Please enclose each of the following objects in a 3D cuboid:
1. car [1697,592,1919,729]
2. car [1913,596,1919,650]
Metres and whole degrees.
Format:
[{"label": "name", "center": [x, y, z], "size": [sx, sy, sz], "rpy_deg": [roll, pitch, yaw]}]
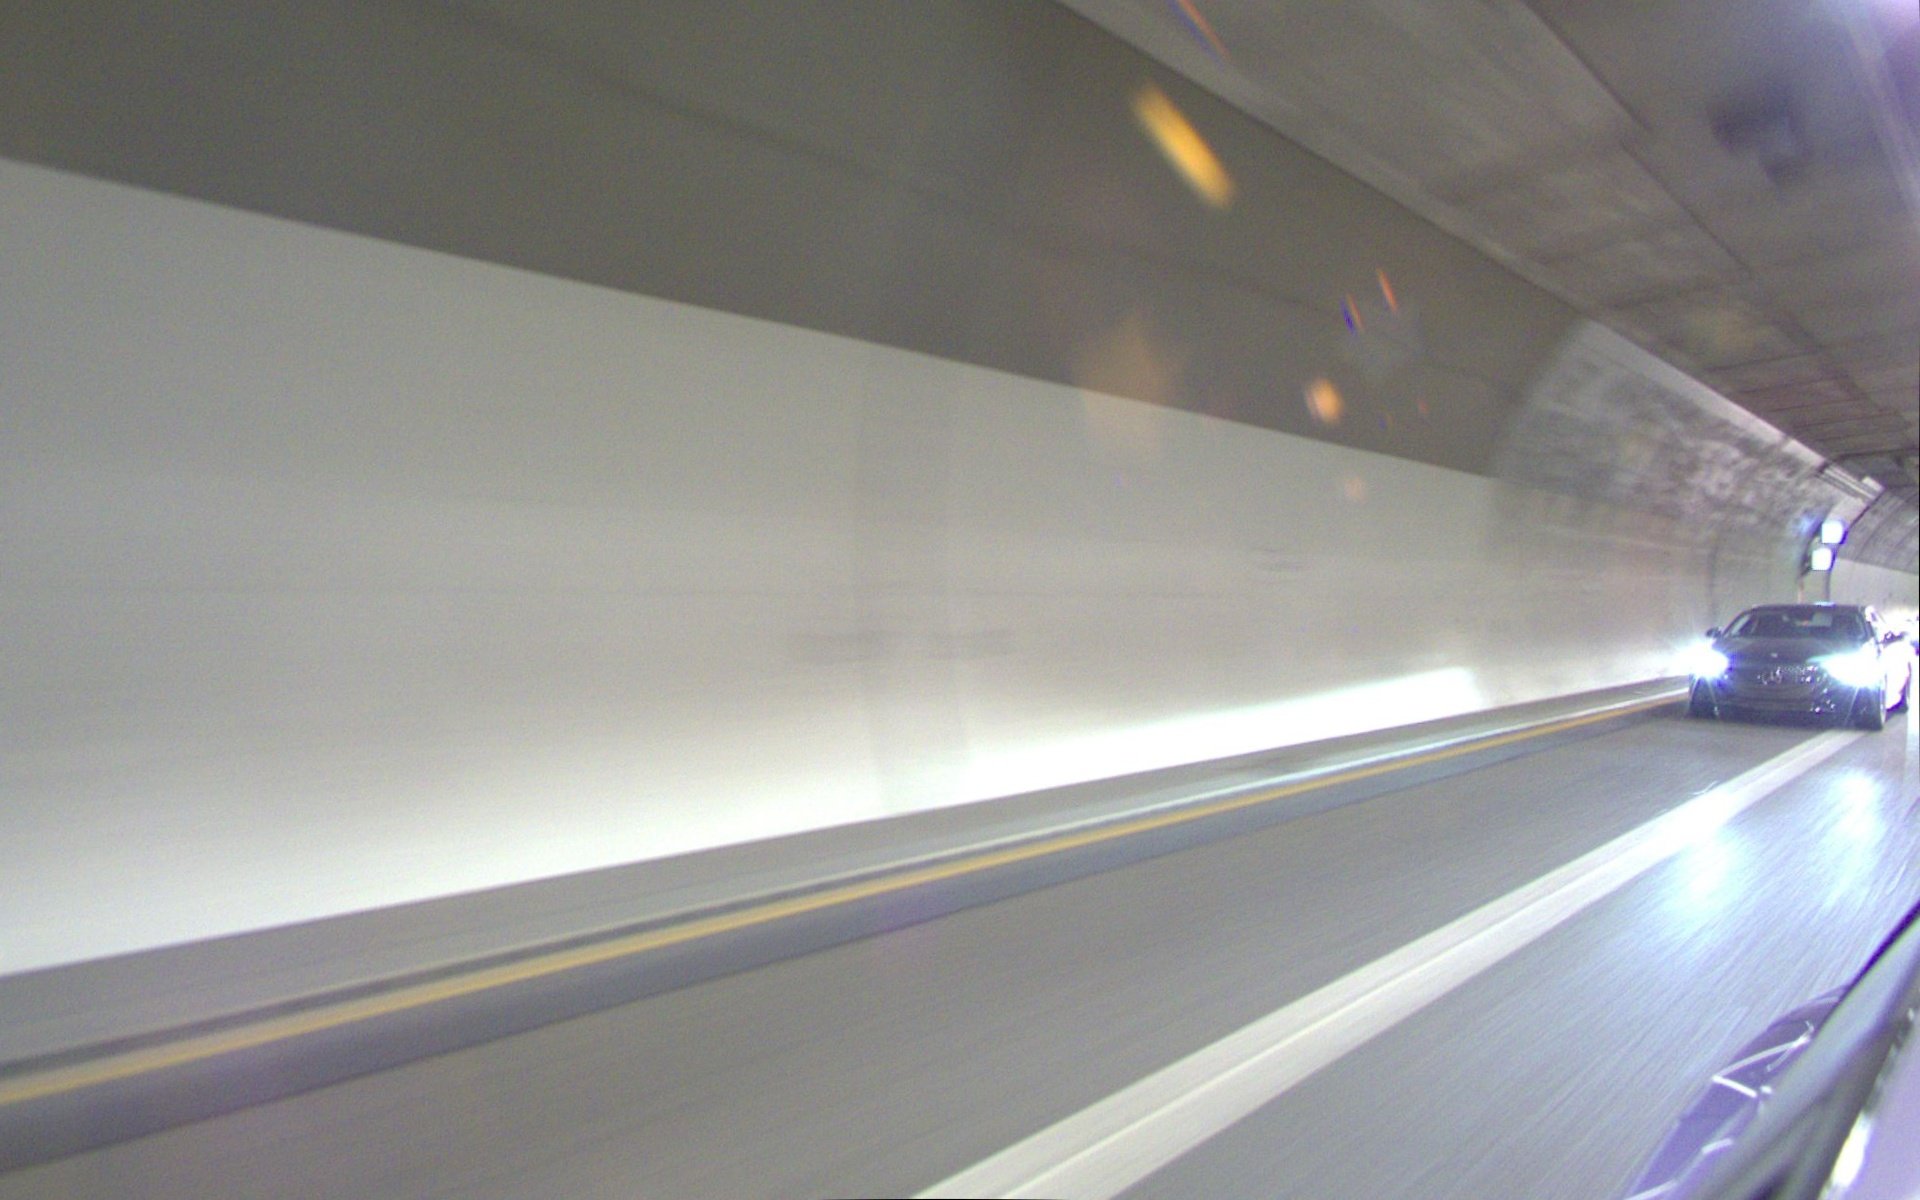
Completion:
[{"label": "car", "center": [11.370, 0.666, 13.346], "size": [4.444, 1.496, 1.823], "rpy_deg": [0, 1, -43]}, {"label": "car", "center": [30.172, 0.679, 30.354], "size": [4.662, 1.559, 1.996], "rpy_deg": [0, 1, -43]}]
